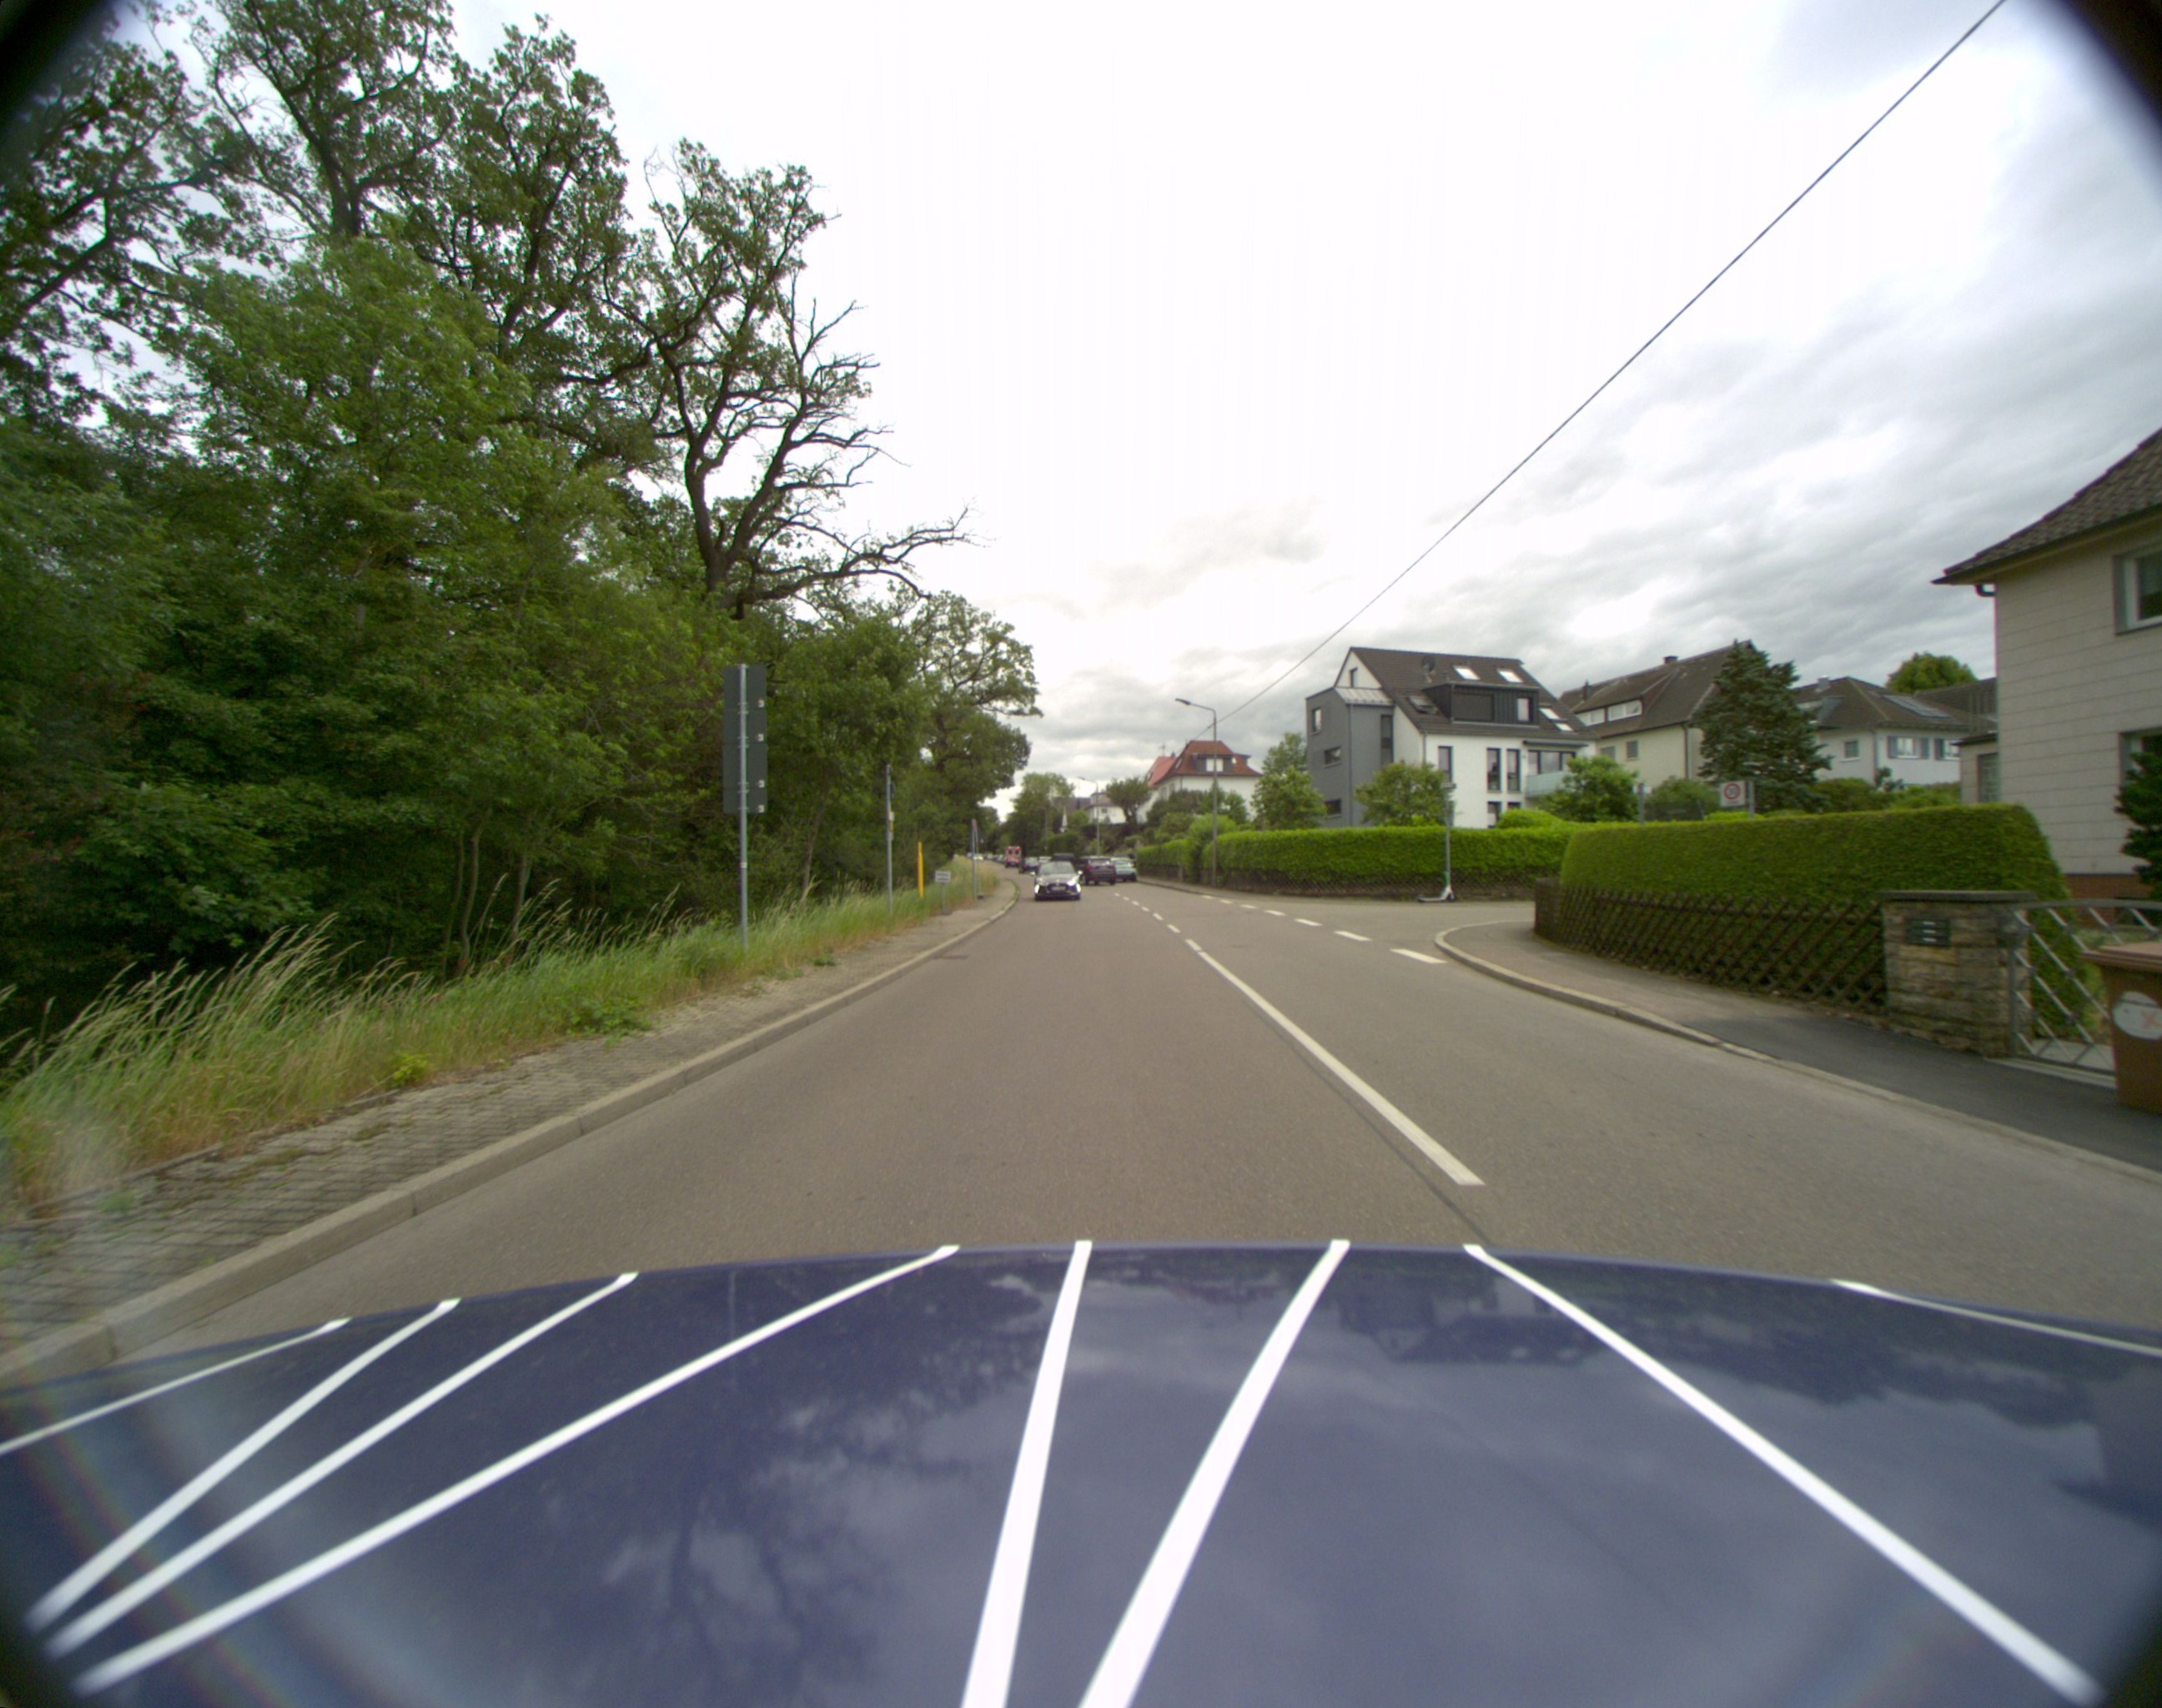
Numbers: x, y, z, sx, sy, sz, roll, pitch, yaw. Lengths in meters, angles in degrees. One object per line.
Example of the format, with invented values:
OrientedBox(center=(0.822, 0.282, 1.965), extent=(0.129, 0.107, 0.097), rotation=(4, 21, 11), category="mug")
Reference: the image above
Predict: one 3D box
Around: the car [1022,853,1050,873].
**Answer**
OrientedBox(center=(-4.203, 0.788, 70.212), extent=(2.001, 1.749, 3.995), rotation=(-1, 0, -13), category="car")

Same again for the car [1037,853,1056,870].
OrientedBox(center=(-3.846, 0.811, 83.906), extent=(1.833, 1.665, 3.996), rotation=(-1, 2, -7), category="car")

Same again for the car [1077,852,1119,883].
OrientedBox(center=(0.907, 0.716, 42.475), extent=(1.818, 1.590, 3.954), rotation=(-2, 0, -6), category="car")

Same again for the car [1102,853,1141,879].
OrientedBox(center=(2.421, 0.716, 46.567), extent=(1.840, 1.514, 3.998), rotation=(-1, 0, -5), category="car")

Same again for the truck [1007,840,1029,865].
OrientedBox(center=(-9.838, -0.228, 118.084), extent=(3.008, 3.618, 7.083), rotation=(-2, 1, -8), category="truck")

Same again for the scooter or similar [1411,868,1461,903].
OrientedBox(center=(11.819, 1.038, 25.333), extent=(1.454, 1.095, 0.455), rotation=(-1, 3, 1), category="scooter or similar")

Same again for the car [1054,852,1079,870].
OrientedBox(center=(-1.360, 0.600, 70.297), extent=(1.876, 1.569, 3.997), rotation=(-1, 0, -7), category="car")

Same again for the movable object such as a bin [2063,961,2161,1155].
OrientedBox(center=(5.937, 1.082, 4.035), extent=(0.689, 0.948, 0.572), rotation=(-1, 1, 2), category="movable object such as a bin")

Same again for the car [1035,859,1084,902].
OrientedBox(center=(-0.793, 0.973, 29.444), extent=(1.730, 1.449, 3.854), rotation=(-2, 0, 0), category="car")
